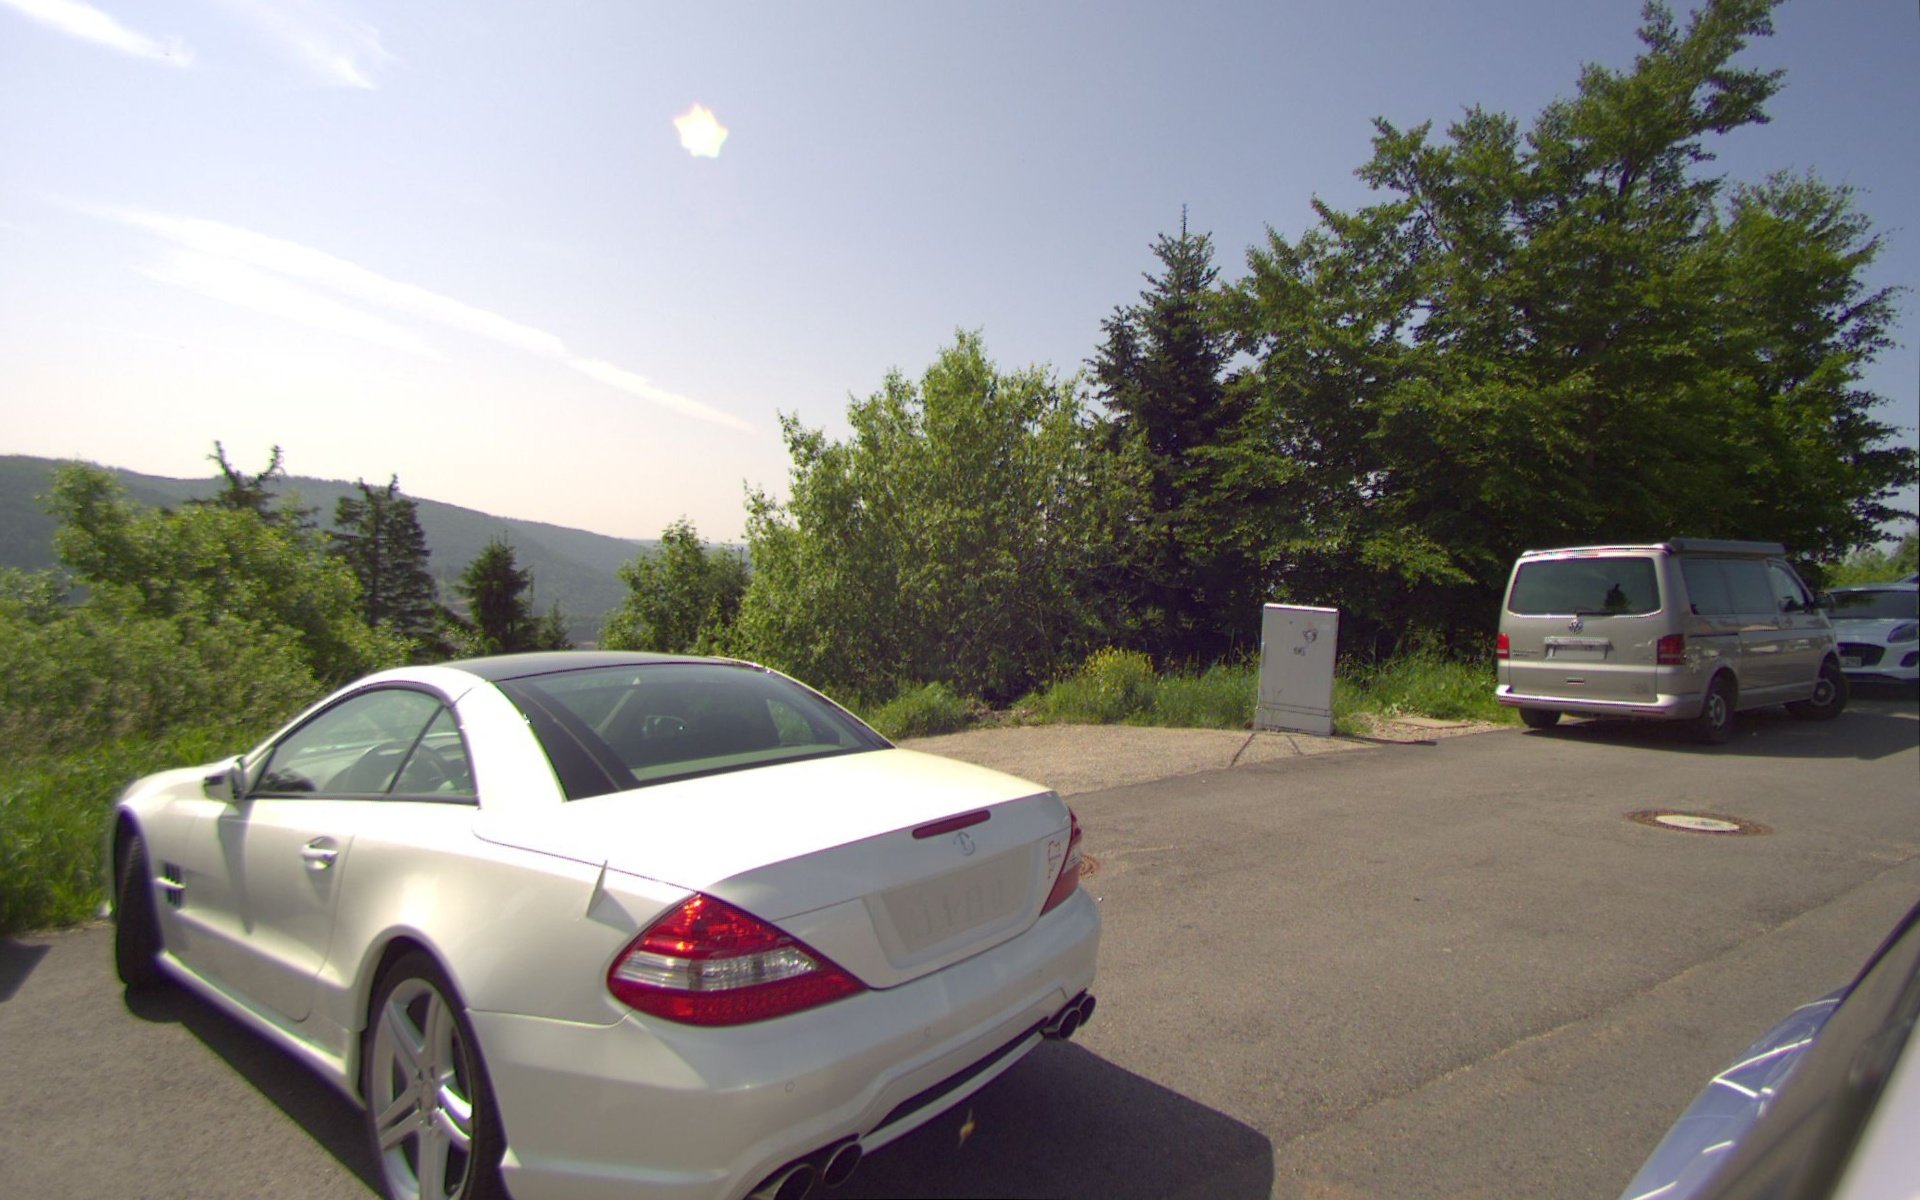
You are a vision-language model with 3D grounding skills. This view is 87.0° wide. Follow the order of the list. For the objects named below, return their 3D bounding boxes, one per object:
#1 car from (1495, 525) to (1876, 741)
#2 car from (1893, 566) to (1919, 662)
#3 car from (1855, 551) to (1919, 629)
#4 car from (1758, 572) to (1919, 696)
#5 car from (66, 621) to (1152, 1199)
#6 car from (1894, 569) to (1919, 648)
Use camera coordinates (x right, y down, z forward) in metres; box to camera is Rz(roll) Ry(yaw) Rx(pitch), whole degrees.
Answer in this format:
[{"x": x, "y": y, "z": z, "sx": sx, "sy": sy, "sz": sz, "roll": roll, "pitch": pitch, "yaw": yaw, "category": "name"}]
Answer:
[{"x": 8.110, "y": 0.295, "z": 11.204, "sx": 4.519, "sy": 1.960, "sz": 1.864, "roll": 0, "pitch": -1, "yaw": -32, "category": "car"}, {"x": 18.318, "y": 0.216, "z": 17.961, "sx": 3.925, "sy": 1.639, "sz": 1.876, "roll": -1, "pitch": 0, "yaw": -36, "category": "car"}, {"x": 25.537, "y": -0.274, "z": 25.375, "sx": 4.432, "sy": 1.949, "sz": 1.852, "roll": -1, "pitch": 0, "yaw": 36, "category": "car"}, {"x": 13.305, "y": 0.409, "z": 14.560, "sx": 3.925, "sy": 1.567, "sz": 1.876, "roll": -1, "pitch": 0, "yaw": -36, "category": "car"}, {"x": -1.667, "y": 0.749, "z": 3.701, "sx": 4.390, "sy": 1.312, "sz": 1.731, "roll": -1, "pitch": -1, "yaw": 39, "category": "car"}, {"x": 21.777, "y": 0.156, "z": 20.480, "sx": 3.974, "sy": 1.639, "sz": 1.852, "roll": -1, "pitch": 0, "yaw": 36, "category": "car"}]
